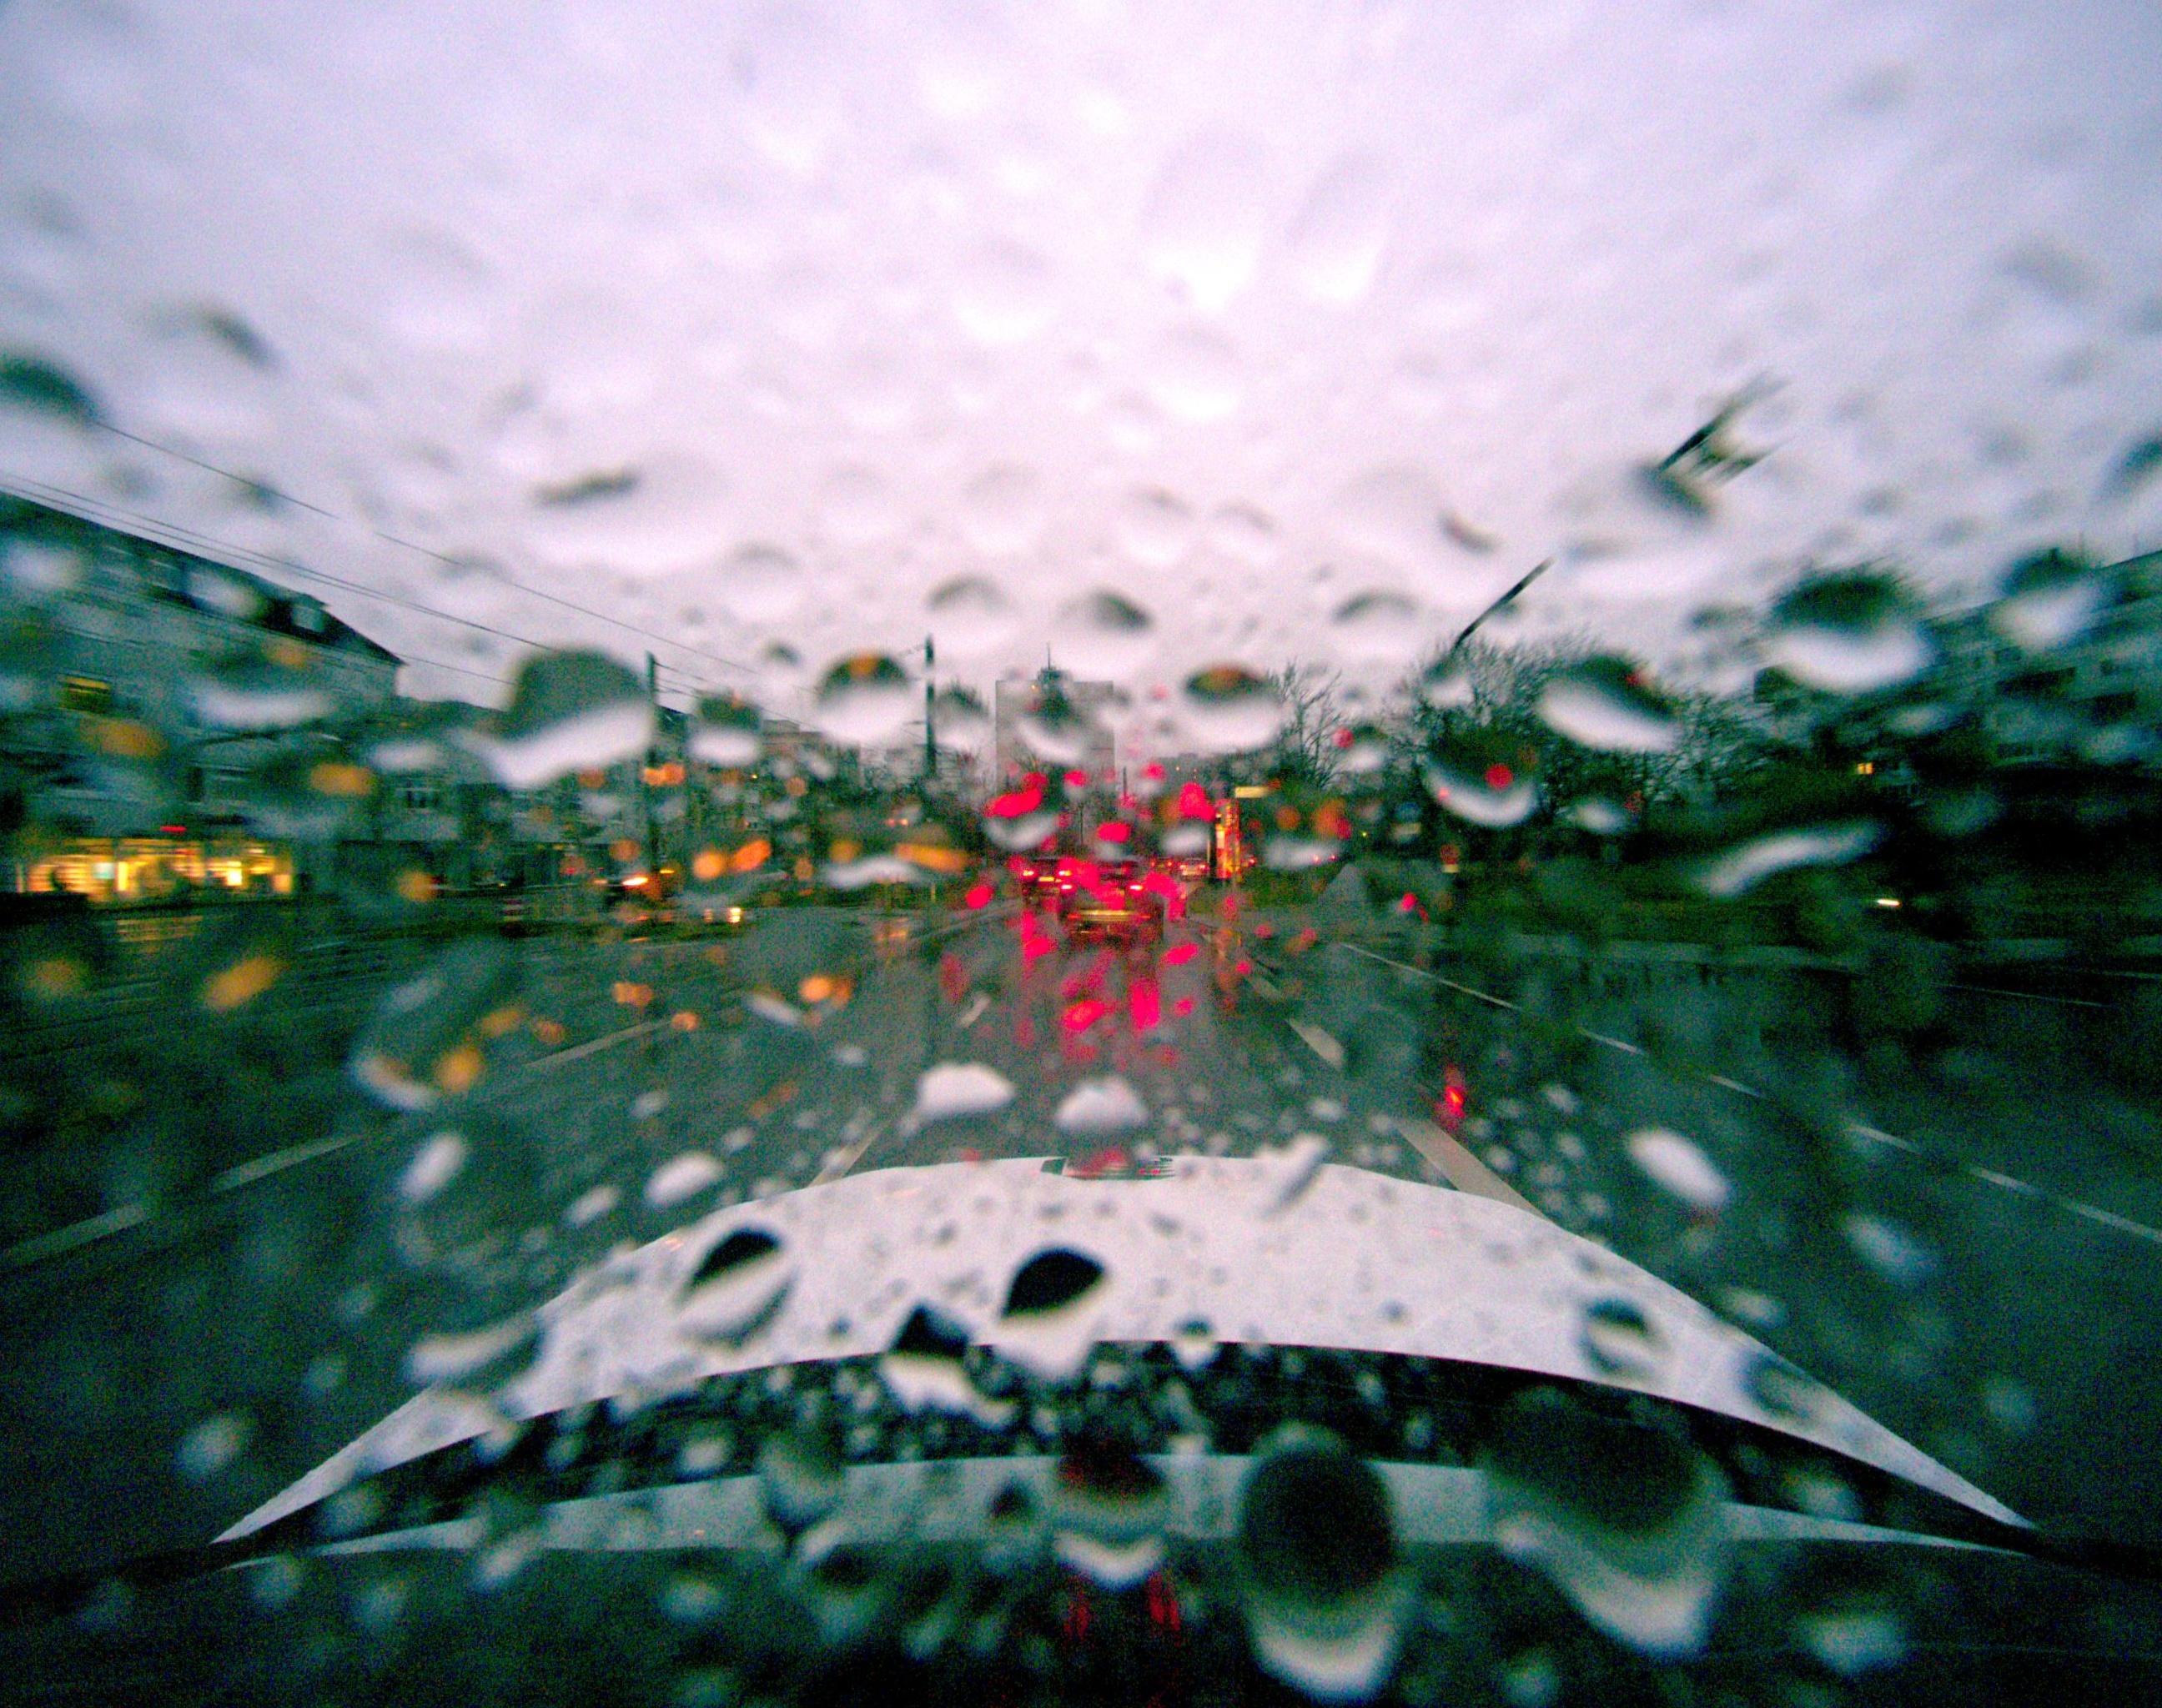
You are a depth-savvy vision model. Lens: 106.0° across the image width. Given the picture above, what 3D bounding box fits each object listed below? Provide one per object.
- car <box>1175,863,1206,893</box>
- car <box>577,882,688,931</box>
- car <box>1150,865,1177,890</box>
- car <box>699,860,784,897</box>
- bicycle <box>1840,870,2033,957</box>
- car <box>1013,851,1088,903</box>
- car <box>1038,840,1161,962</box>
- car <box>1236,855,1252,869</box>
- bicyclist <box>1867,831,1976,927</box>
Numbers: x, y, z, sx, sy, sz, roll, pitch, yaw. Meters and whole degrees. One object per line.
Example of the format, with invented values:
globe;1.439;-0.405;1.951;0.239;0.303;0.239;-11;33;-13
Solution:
car;7.464;1.624;55.317;1.844;1.892;4.012;0;-2;11
car;-16.382;1.872;29.985;1.798;1.607;4.000;1;-1;1
car;6.505;1.806;63.858;1.761;1.892;3.653;0;-2;11
car;-15.048;1.098;36.379;1.581;1.529;4.935;1;-1;1
bicycle;13.280;0.903;12.697;1.958;1.216;1.040;-2;1;-2
car;-1.017;0.829;29.459;1.983;1.712;4.333;0;-1;7
car;0.441;0.814;15.328;1.985;1.976;4.072;1;-1;4
car;18.804;0.960;94.206;1.527;1.513;3.348;0;-1;6
bicyclist;13.075;0.388;12.708;0.748;1.430;0.928;0;-2;4
